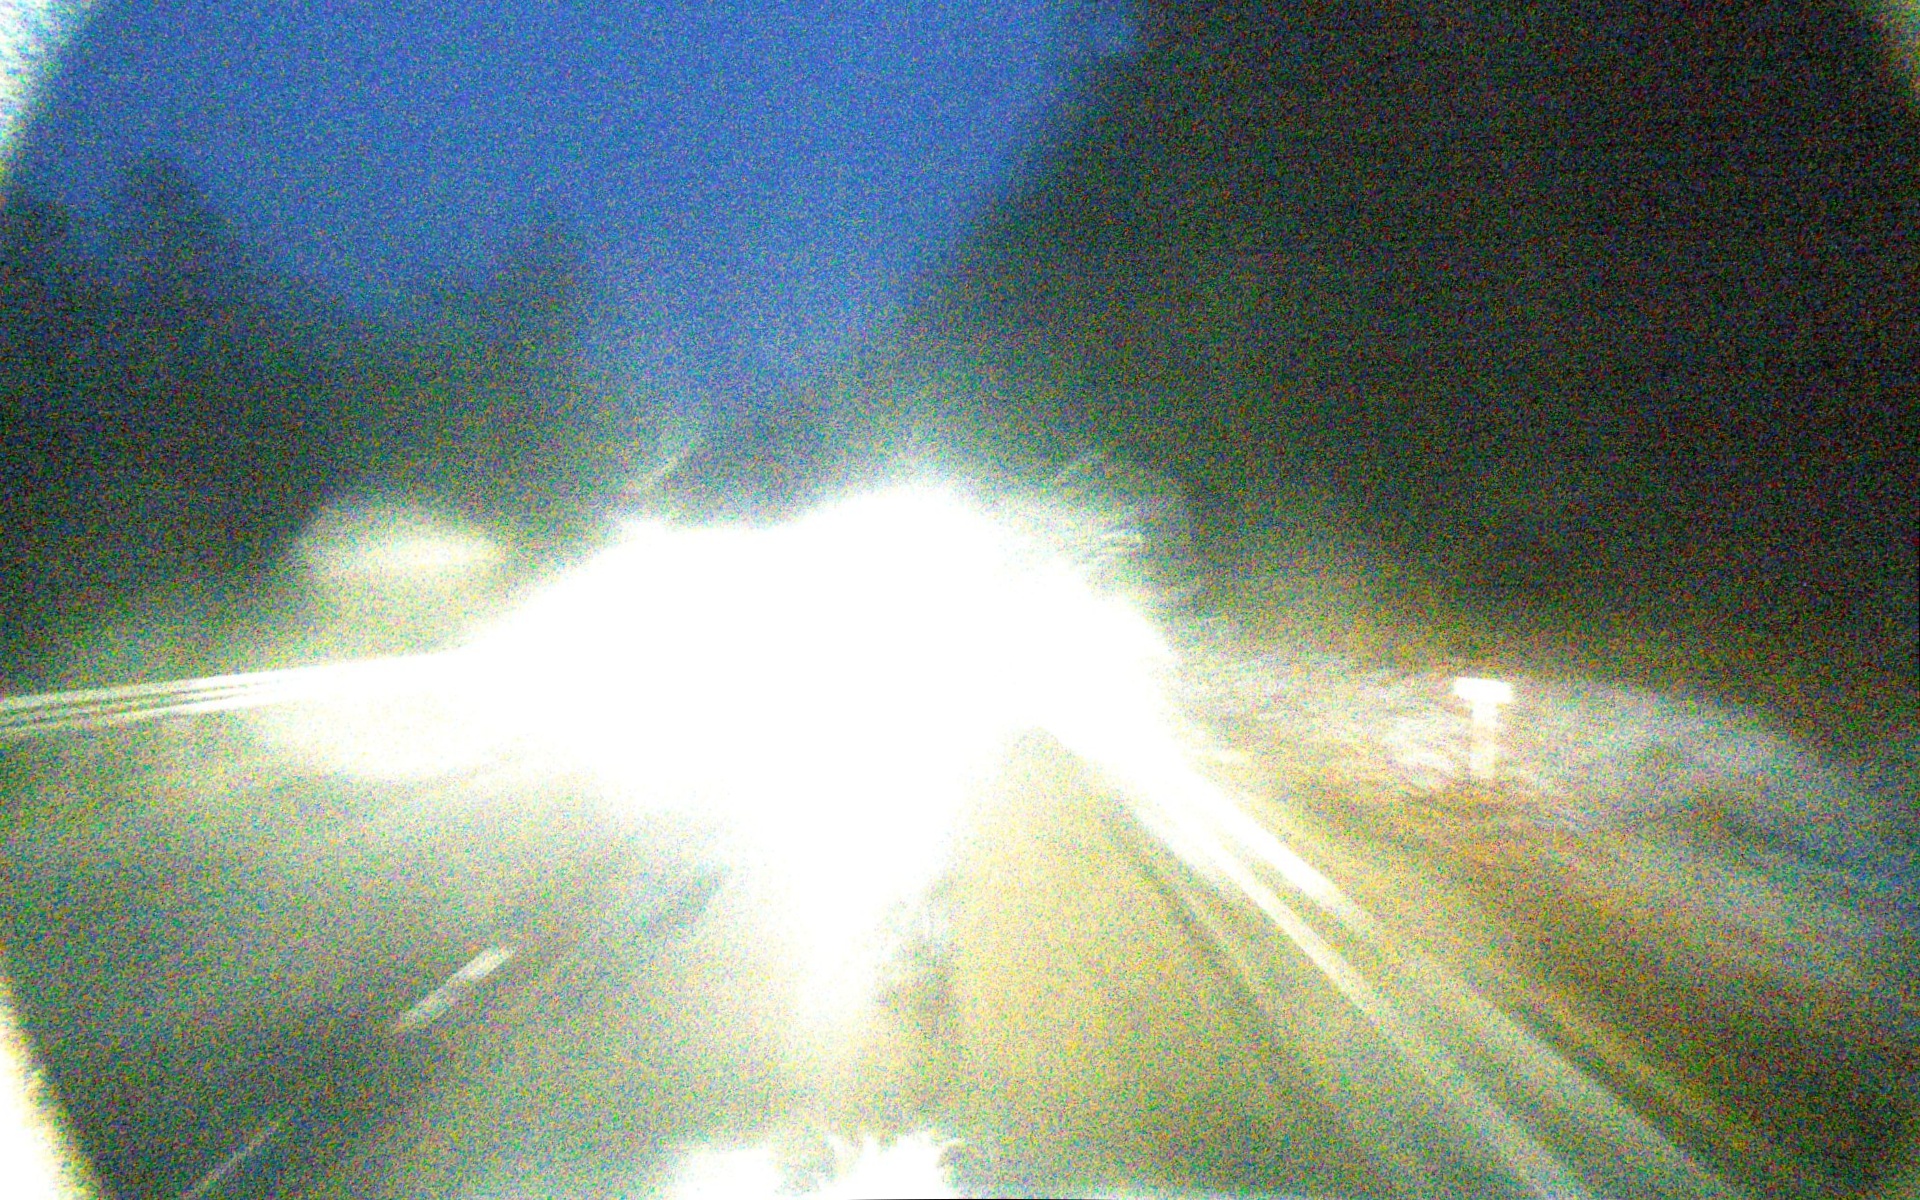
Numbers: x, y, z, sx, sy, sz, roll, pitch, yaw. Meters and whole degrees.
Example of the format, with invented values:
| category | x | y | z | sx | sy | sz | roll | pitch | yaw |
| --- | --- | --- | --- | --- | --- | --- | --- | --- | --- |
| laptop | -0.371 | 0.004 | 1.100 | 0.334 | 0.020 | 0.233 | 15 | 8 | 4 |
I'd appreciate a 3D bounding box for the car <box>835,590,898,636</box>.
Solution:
| category | x | y | z | sx | sy | sz | roll | pitch | yaw |
| --- | --- | --- | --- | --- | --- | --- | --- | --- | --- |
| car | -3.185 | 0.413 | 57.019 | 1.878 | 1.489 | 4.259 | -1 | 0 | 1 |
